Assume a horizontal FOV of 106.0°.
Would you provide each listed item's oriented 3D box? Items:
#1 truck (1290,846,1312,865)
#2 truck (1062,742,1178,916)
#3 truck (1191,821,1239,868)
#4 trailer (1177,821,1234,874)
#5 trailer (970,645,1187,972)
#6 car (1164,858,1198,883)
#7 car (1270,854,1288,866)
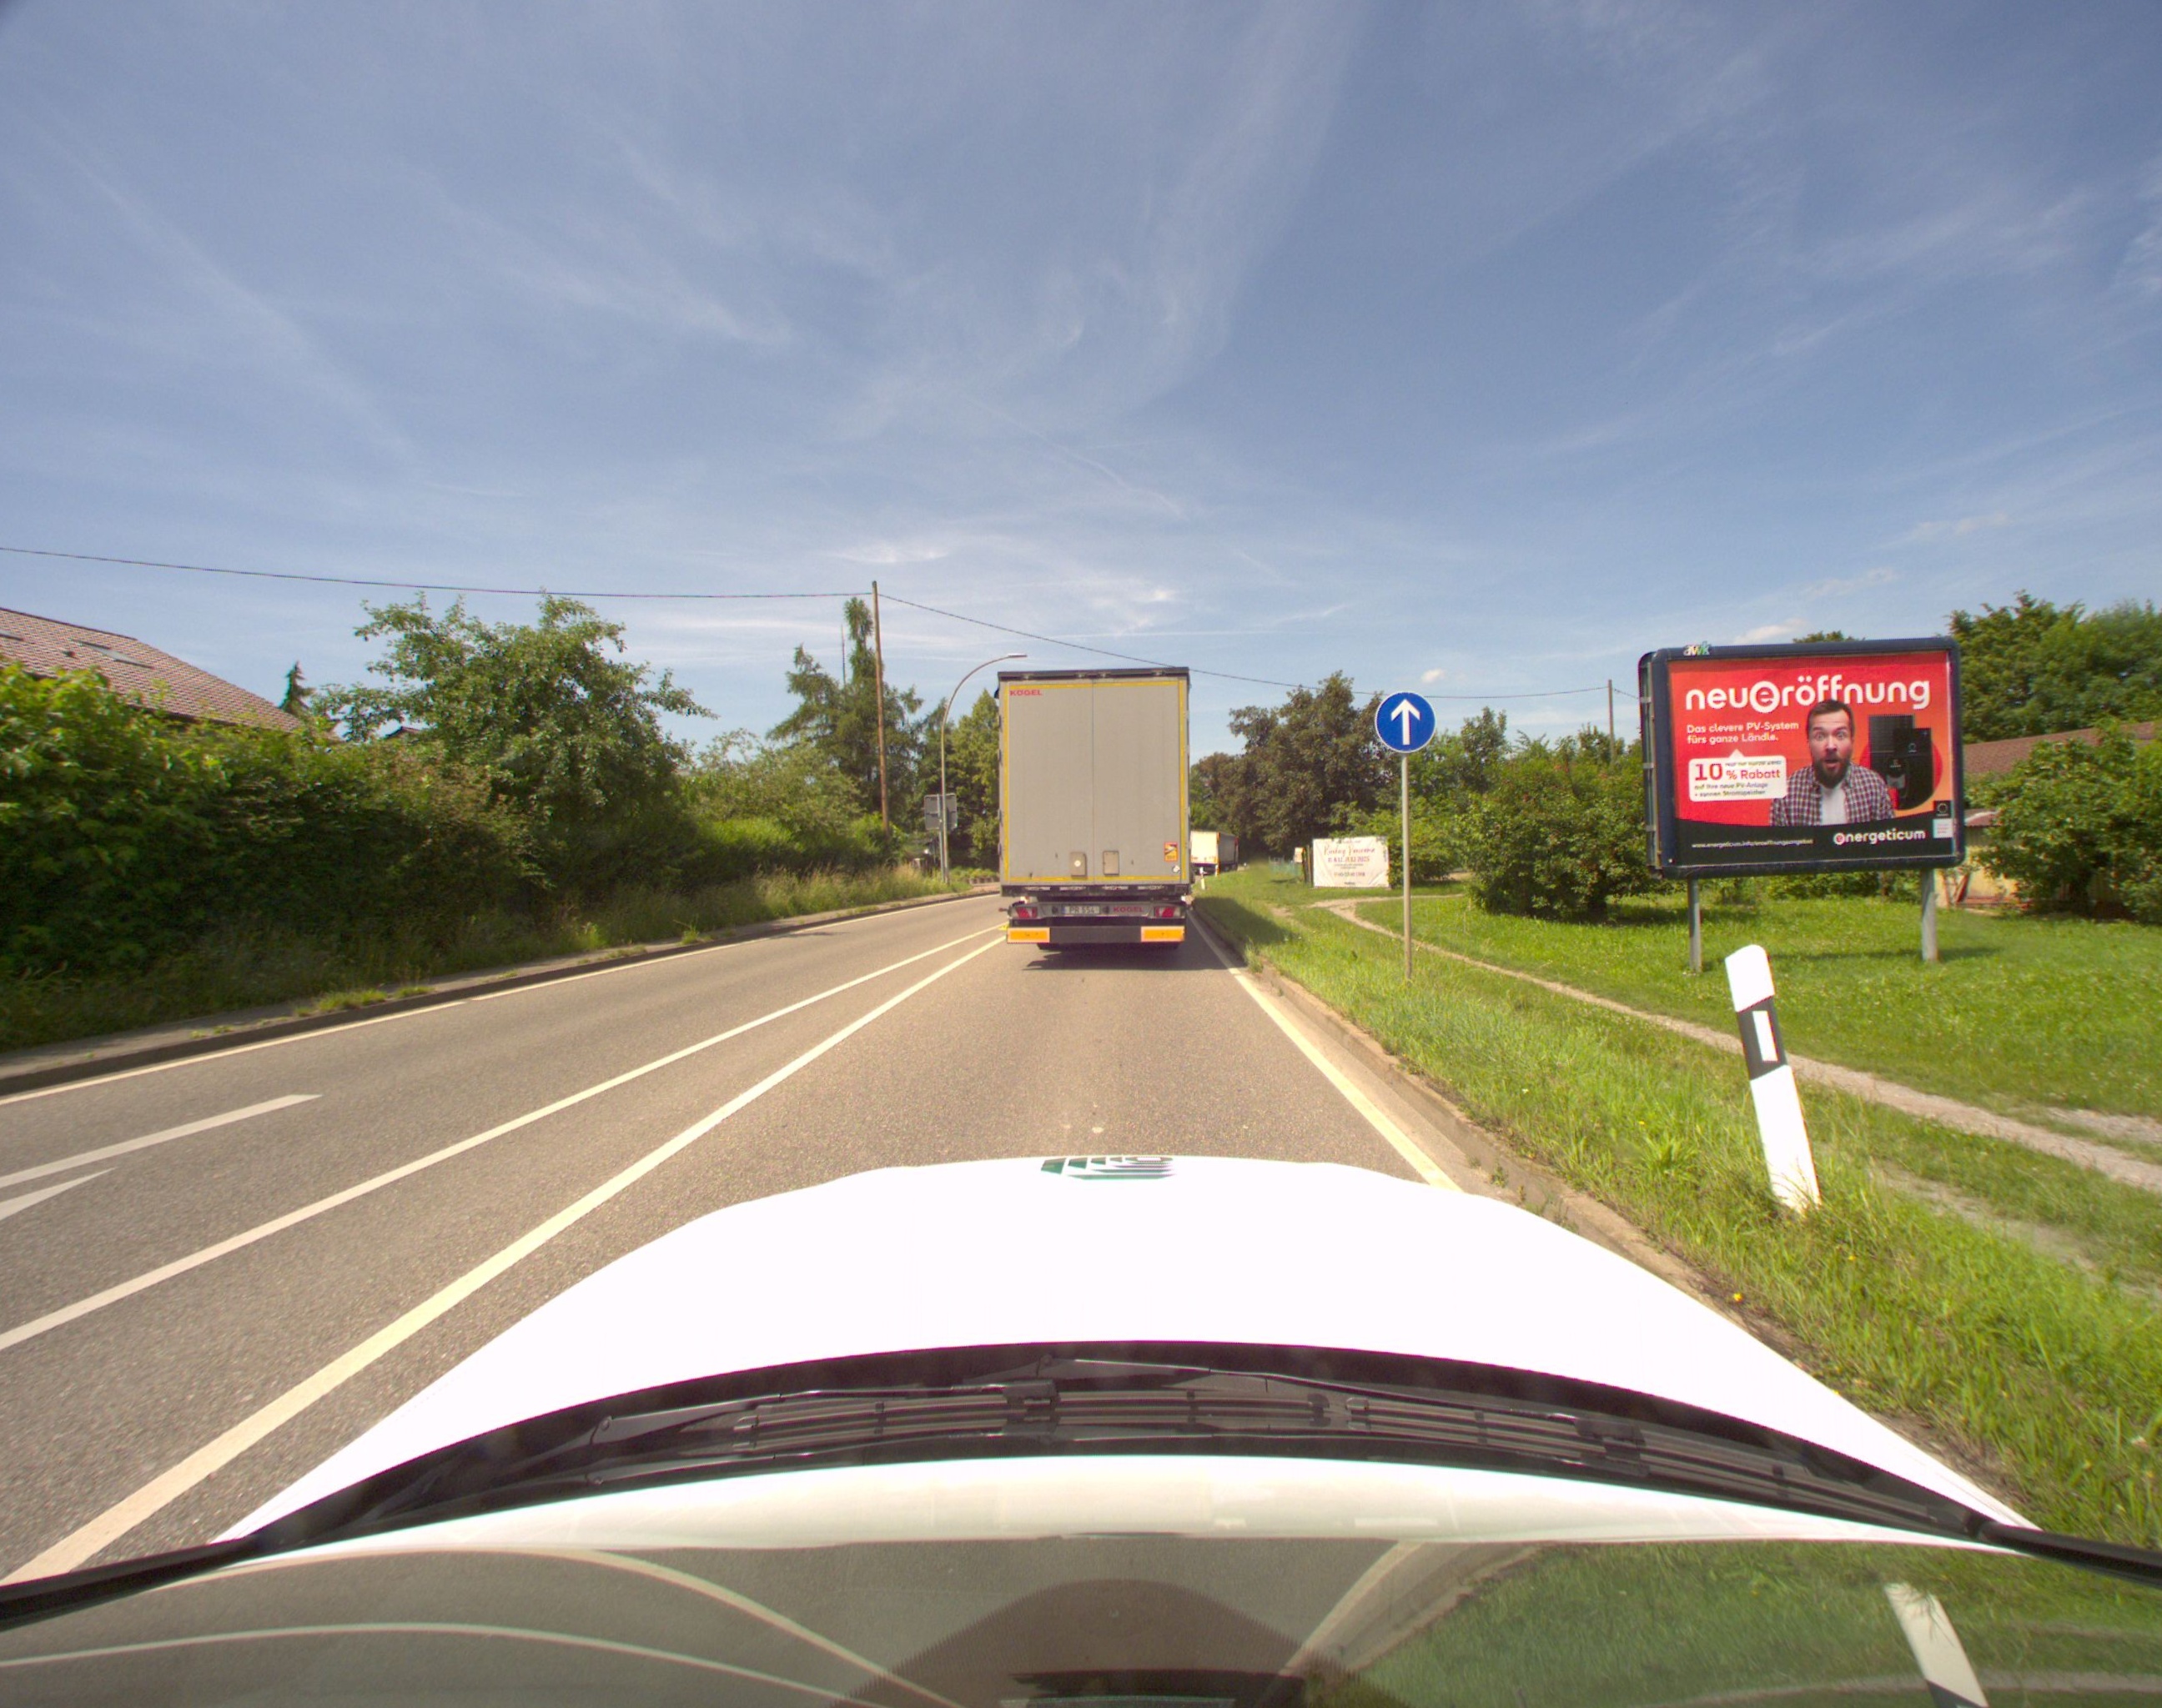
[{"bbox_3d":[33.905,0.155,125.426,2.399,2.838,5.442,-1,0,23],"label":"truck"},{"bbox_3d":[1.264,-0.614,22.759,2.732,4.165,6.154,-1,0,6],"label":"truck"},{"bbox_3d":[14.063,-0.940,84.812,3.906,4.575,7.183,-1,0,17],"label":"truck"},{"bbox_3d":[12.161,-0.569,78.146,3.862,4.521,12.765,-1,0,15],"label":"trailer"},{"bbox_3d":[0.600,-0.616,16.630,2.773,4.205,12.132,-1,0,6],"label":"trailer"},{"bbox_3d":[6.586,1.045,53.326,1.981,1.530,4.011,-1,0,10],"label":"car"},{"bbox_3d":[27.739,0.832,113.883,1.825,1.486,4.022,-1,0,23],"label":"car"}]
